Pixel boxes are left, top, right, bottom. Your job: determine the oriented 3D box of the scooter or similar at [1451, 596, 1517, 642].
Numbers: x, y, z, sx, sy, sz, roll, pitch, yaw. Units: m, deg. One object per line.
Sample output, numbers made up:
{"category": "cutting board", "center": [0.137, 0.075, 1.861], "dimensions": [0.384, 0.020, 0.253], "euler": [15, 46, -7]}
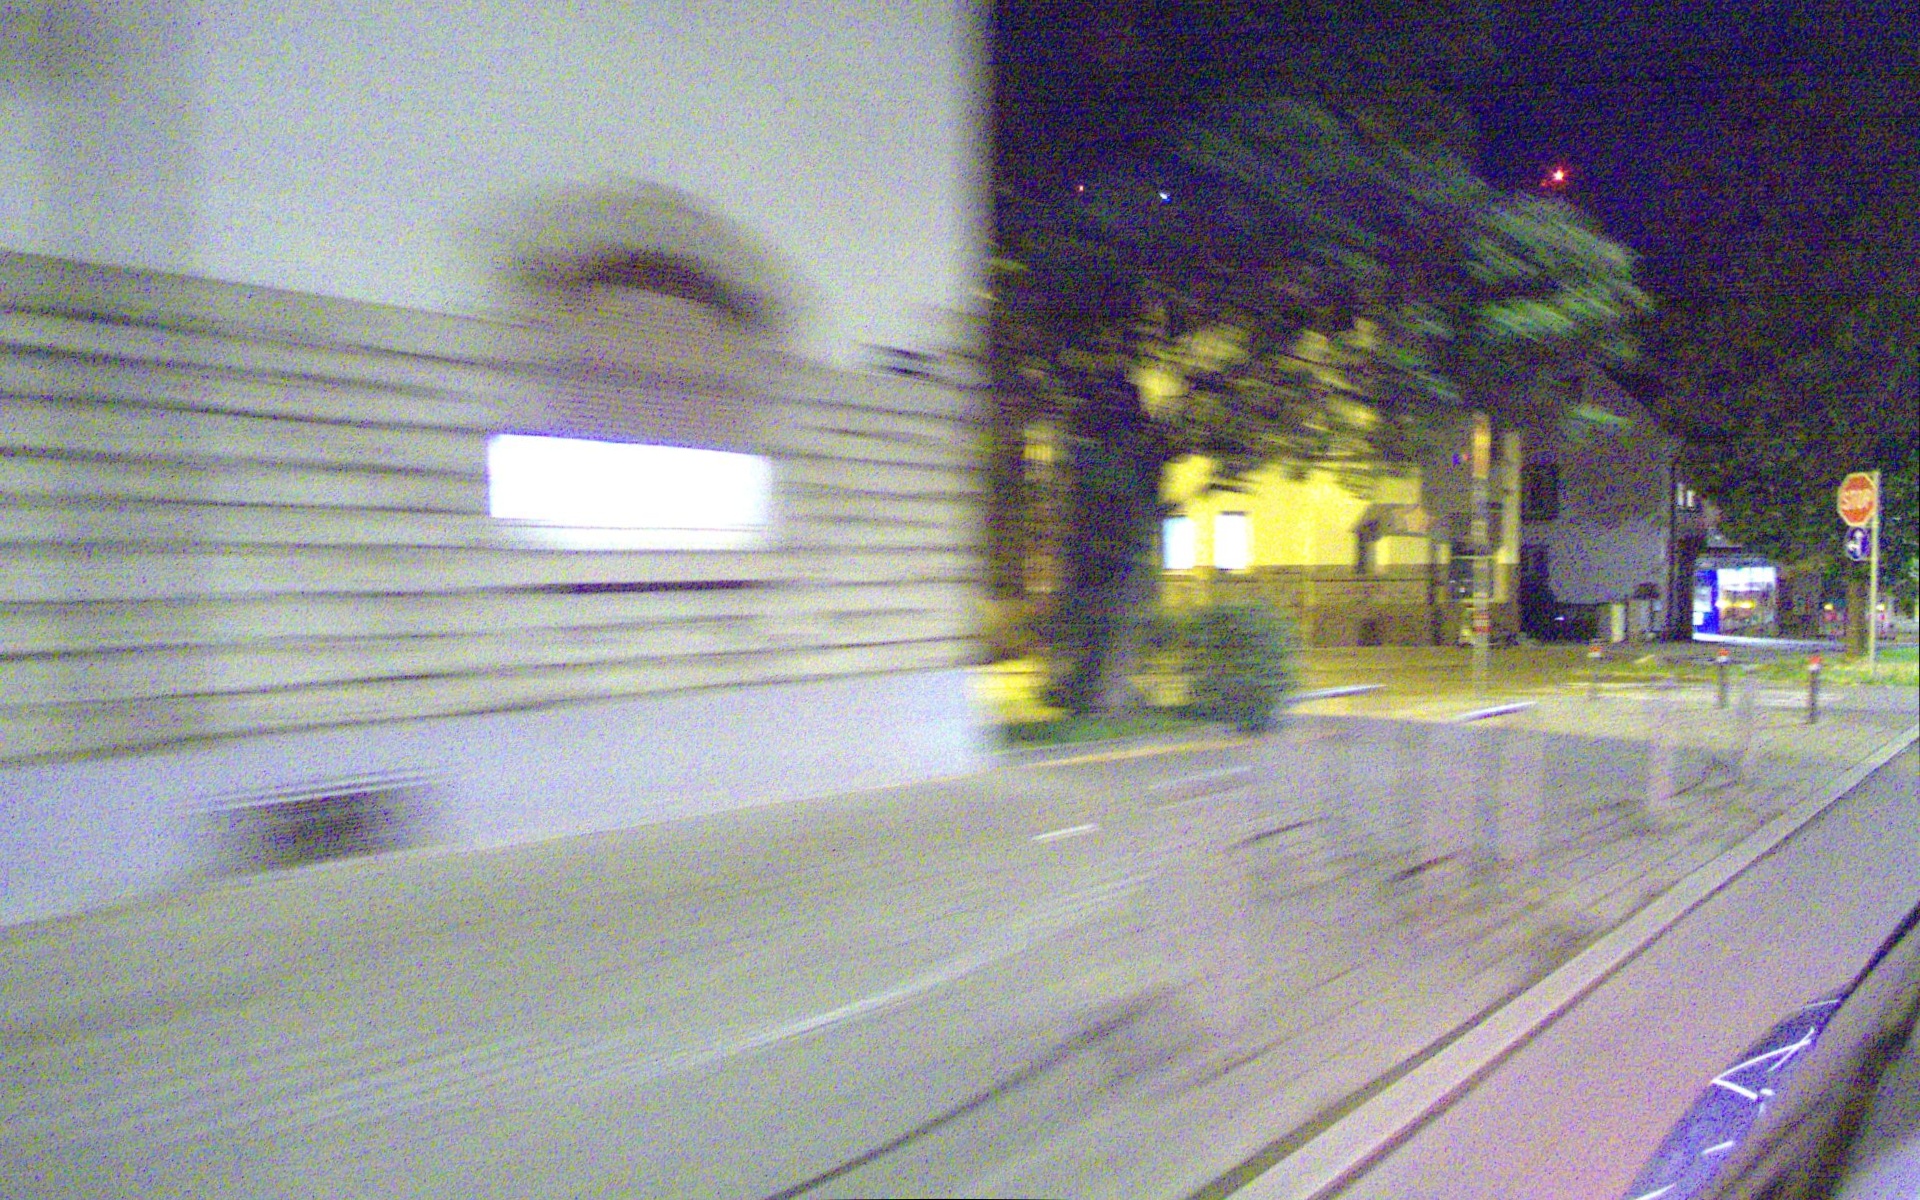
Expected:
{"category": "scooter or similar", "center": [13.879, 0.503, 26.806], "dimensions": [1.631, 1.159, 0.502], "euler": [0, 3, -16]}
